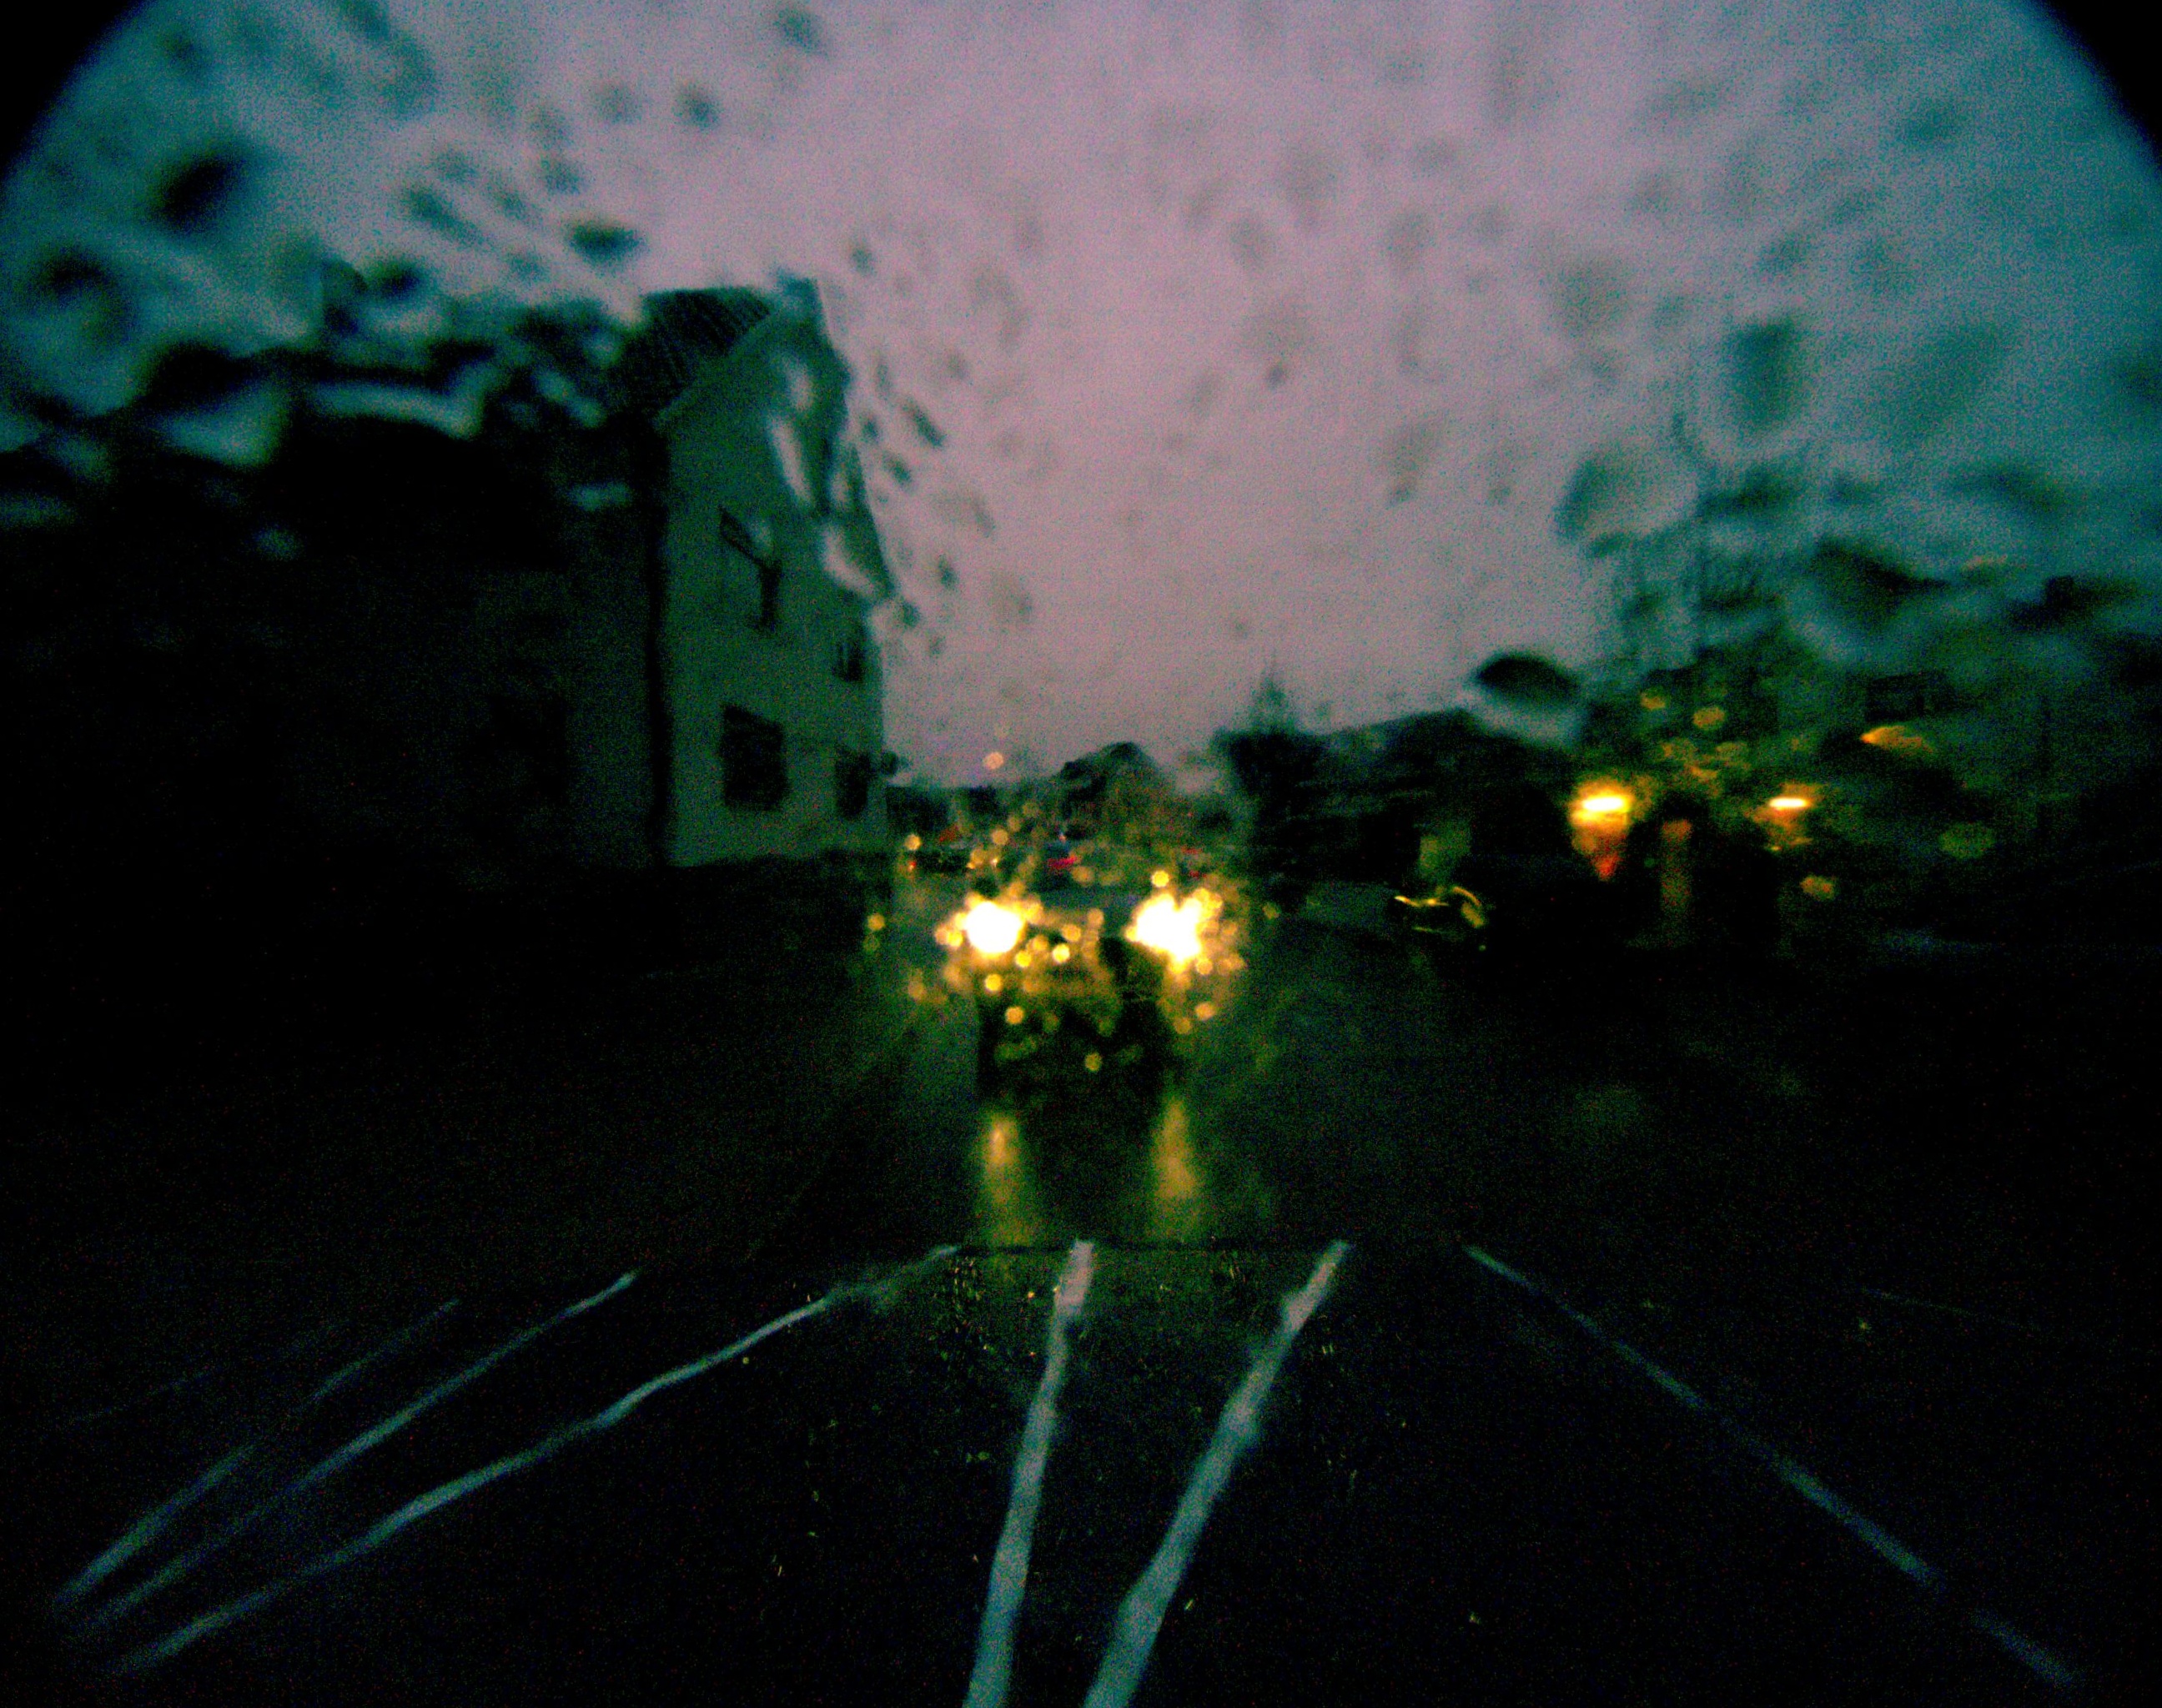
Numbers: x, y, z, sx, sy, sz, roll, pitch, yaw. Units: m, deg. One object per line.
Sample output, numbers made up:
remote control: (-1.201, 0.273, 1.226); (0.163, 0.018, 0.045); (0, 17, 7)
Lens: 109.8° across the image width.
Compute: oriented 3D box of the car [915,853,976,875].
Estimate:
car: (-9.882, 0.732, 55.556); (4.111, 1.496, 1.889); (-1, 1, -1)

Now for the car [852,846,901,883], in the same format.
car: (-11.697, 0.582, 43.316); (1.982, 1.948, 4.842); (-1, 0, -23)

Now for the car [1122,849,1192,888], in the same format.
car: (3.164, 0.562, 32.147); (1.840, 1.527, 3.671); (-2, 1, -13)

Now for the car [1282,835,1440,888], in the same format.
car: (10.393, 0.251, 28.636); (5.387, 1.874, 2.076); (0, 0, 16)

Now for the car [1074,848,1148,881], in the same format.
car: (1.442, 0.485, 38.449); (1.913, 1.525, 4.247); (-2, 1, -26)

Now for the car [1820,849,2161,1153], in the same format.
car: (6.451, 0.769, 3.829); (1.697, 1.507, 3.771); (-2, 1, -2)

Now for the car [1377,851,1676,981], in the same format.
car: (6.219, 0.735, 11.342); (1.751, 1.464, 4.457); (-2, 1, -1)

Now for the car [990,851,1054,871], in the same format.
car: (-4.833, 0.608, 62.192); (4.775, 1.626, 1.997); (1, -1, -21)

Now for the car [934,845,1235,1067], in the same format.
car: (-0.083, 0.742, 8.338); (2.270, 1.633, 5.063); (-1, 1, -3)

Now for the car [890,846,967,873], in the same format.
car: (-12.279, 0.423, 61.255); (5.769, 1.934, 1.993); (-2, 0, 14)

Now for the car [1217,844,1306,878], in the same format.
car: (8.521, 0.319, 35.969); (3.993, 1.521, 2.002); (-1, 1, 13)

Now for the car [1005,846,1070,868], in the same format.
car: (-3.334, 0.198, 58.492); (4.456, 1.623, 2.150); (-1, 1, -29)

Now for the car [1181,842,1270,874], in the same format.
car: (7.871, 0.213, 41.609); (4.649, 1.644, 1.989); (0, 1, 9)

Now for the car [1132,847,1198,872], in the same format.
car: (5.324, 0.332, 48.319); (4.069, 1.451, 1.758); (-1, 1, 4)

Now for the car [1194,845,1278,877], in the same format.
car: (7.860, 0.330, 38.808); (4.107, 1.573, 1.722); (0, 1, 9)

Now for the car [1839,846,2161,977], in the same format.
car: (12.482, 0.646, 9.359); (4.078, 1.468, 1.742); (0, 1, 23)
